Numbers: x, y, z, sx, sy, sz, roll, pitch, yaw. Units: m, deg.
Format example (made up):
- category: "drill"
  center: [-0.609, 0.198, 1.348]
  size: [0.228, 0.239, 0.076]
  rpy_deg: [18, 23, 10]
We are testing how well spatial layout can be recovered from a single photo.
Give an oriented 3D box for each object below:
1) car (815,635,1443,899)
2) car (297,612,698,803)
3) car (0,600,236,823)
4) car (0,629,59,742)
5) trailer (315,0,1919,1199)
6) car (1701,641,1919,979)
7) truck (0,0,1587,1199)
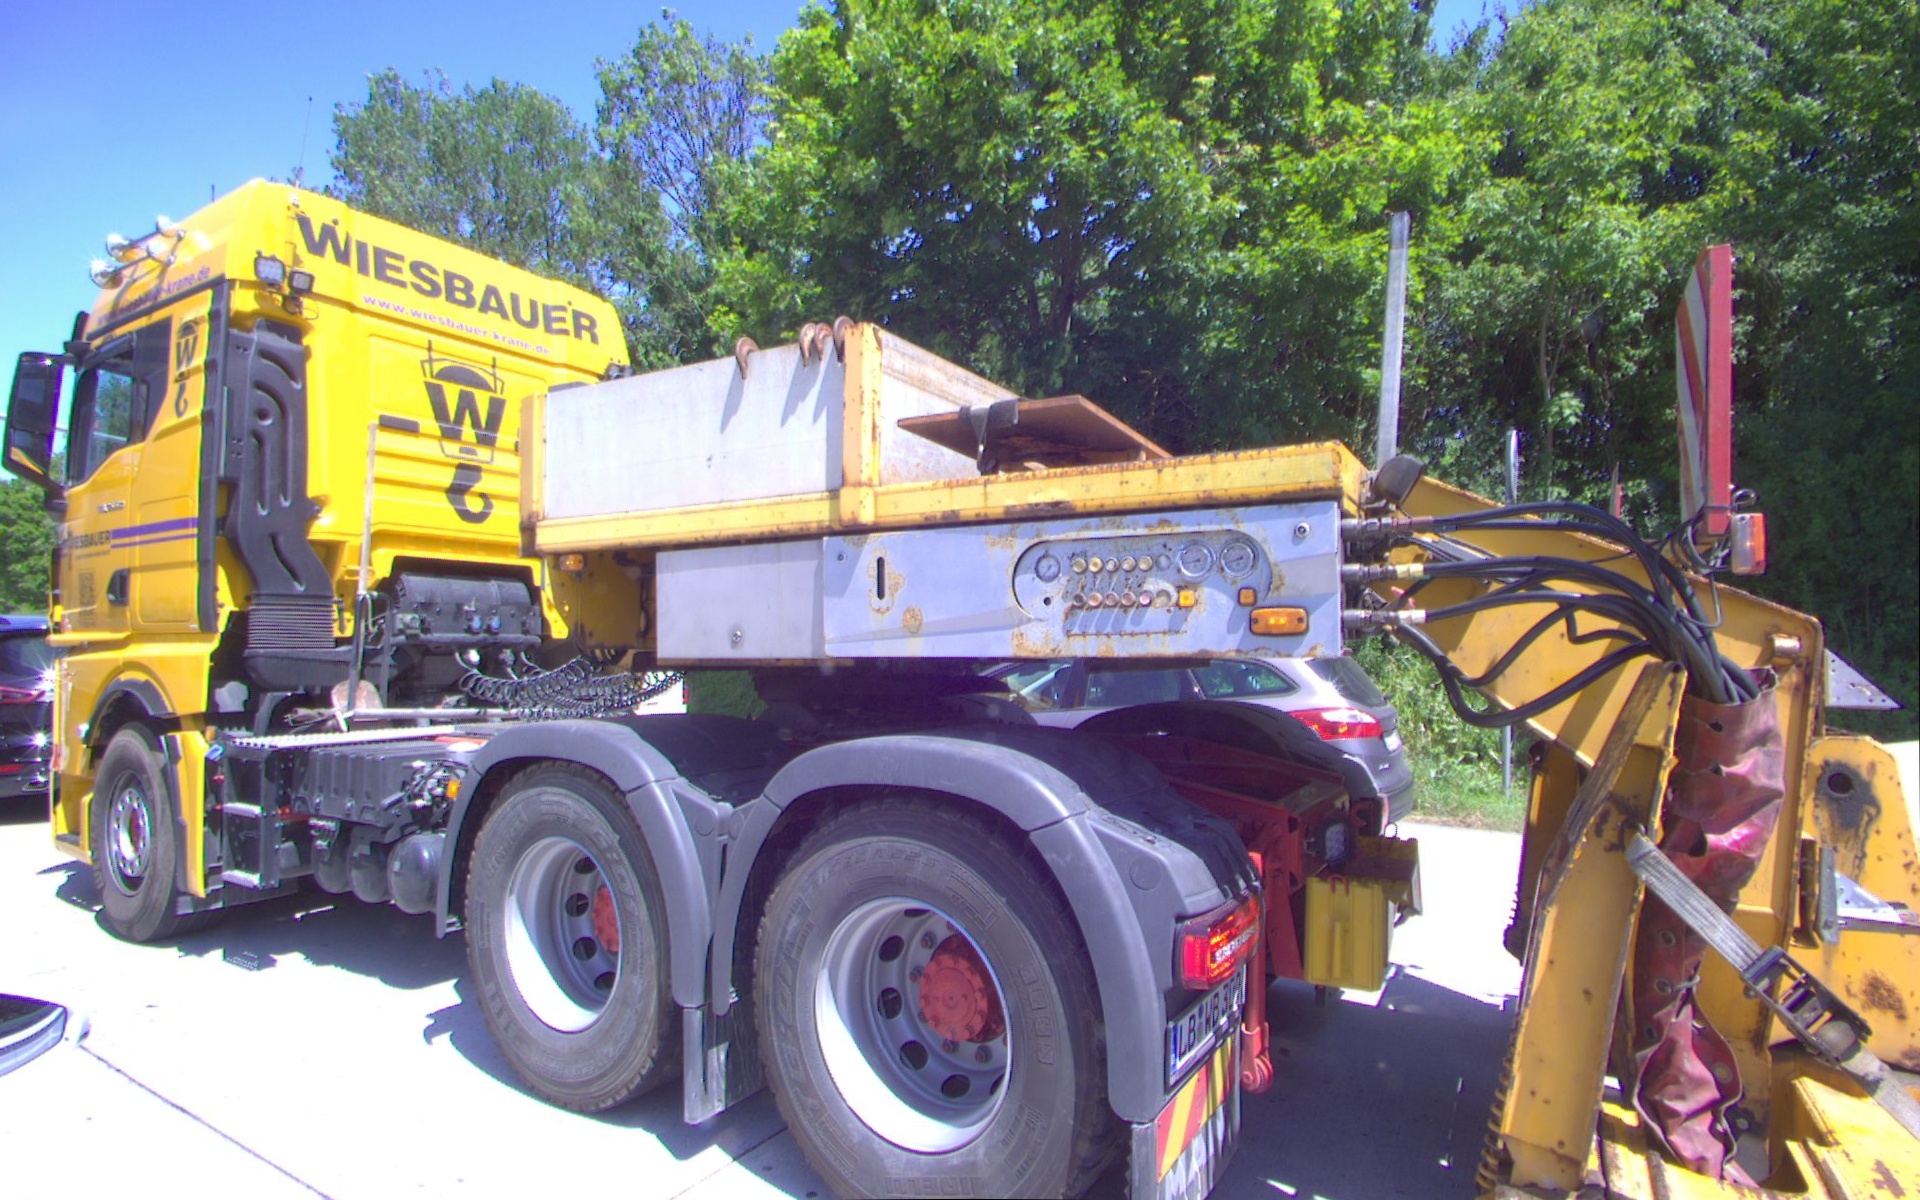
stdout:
- category: "car"
  center: [1.155, 1.006, 7.481]
  size: [4.300, 1.480, 1.765]
  rpy_deg: [-1, -2, 31]
- category: "car"
  center: [-5.397, 1.108, 11.540]
  size: [4.720, 1.830, 1.766]
  rpy_deg: [-1, -2, 29]
- category: "car"
  center: [-8.680, 0.898, 9.271]
  size: [4.584, 1.660, 1.779]
  rpy_deg: [-1, -2, 35]
- category: "car"
  center: [-14.207, 1.127, 13.758]
  size: [4.548, 1.428, 1.763]
  rpy_deg: [-2, -2, 35]
- category: "trailer"
  center: [5.403, 0.203, 0.632]
  size: [16.117, 2.626, 3.023]
  rpy_deg: [-1, -2, 31]
- category: "car"
  center: [6.154, 0.931, 4.338]
  size: [4.530, 1.481, 1.766]
  rpy_deg: [-1, -2, 30]
- category: "truck"
  center: [-1.413, -0.323, 4.785]
  size: [7.361, 3.820, 3.010]
  rpy_deg: [-1, -2, 31]
